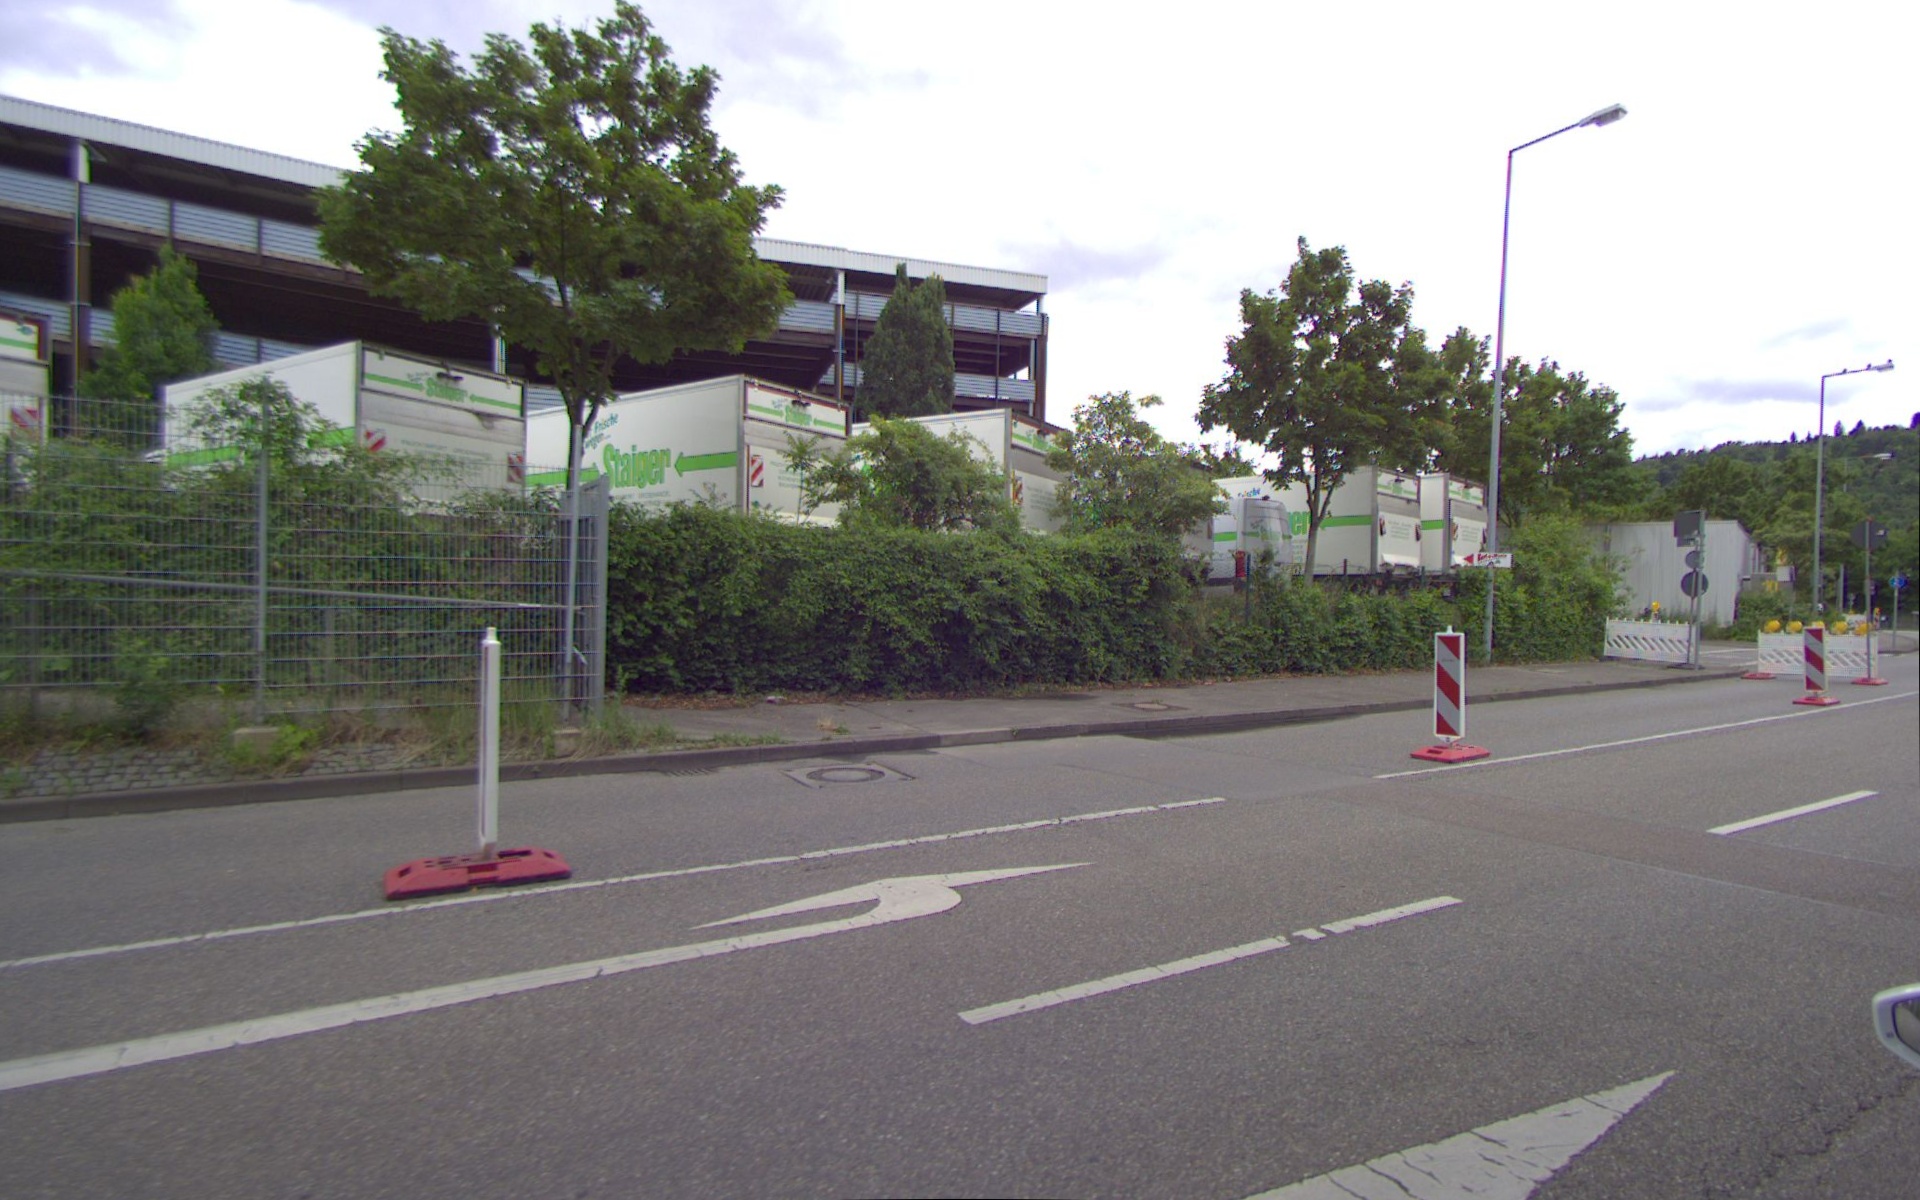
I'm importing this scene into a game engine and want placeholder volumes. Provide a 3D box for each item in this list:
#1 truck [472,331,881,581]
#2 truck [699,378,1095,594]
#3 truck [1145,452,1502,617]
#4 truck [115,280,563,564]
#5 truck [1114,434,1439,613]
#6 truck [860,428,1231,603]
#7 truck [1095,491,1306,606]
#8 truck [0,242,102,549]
[{"bbox_3d":[-5.455,-2.330,18.579,7.738,3.585,3.042,3,0,36],"label":"truck"},{"bbox_3d":[-1.455,-2.131,20.693,7.732,3.585,3.045,3,0,33],"label":"truck"},{"bbox_3d":[10.279,-1.772,29.661,3.029,4.044,9.536,3,0,-41],"label":"truck"},{"bbox_3d":[-10.482,-2.581,16.700,7.728,3.585,3.046,3,0,31],"label":"truck"},{"bbox_3d":[8.233,-1.875,27.086,3.031,4.044,7.767,3,0,-43],"label":"truck"},{"bbox_3d":[1.782,-1.782,22.755,7.732,3.292,3.045,3,0,33],"label":"truck"},{"bbox_3d":[5.751,-1.196,24.559,2.175,2.437,4.655,3,0,-36],"label":"truck"},{"bbox_3d":[-15.238,-2.667,13.602,8.011,3.585,3.046,3,0,31],"label":"truck"}]
